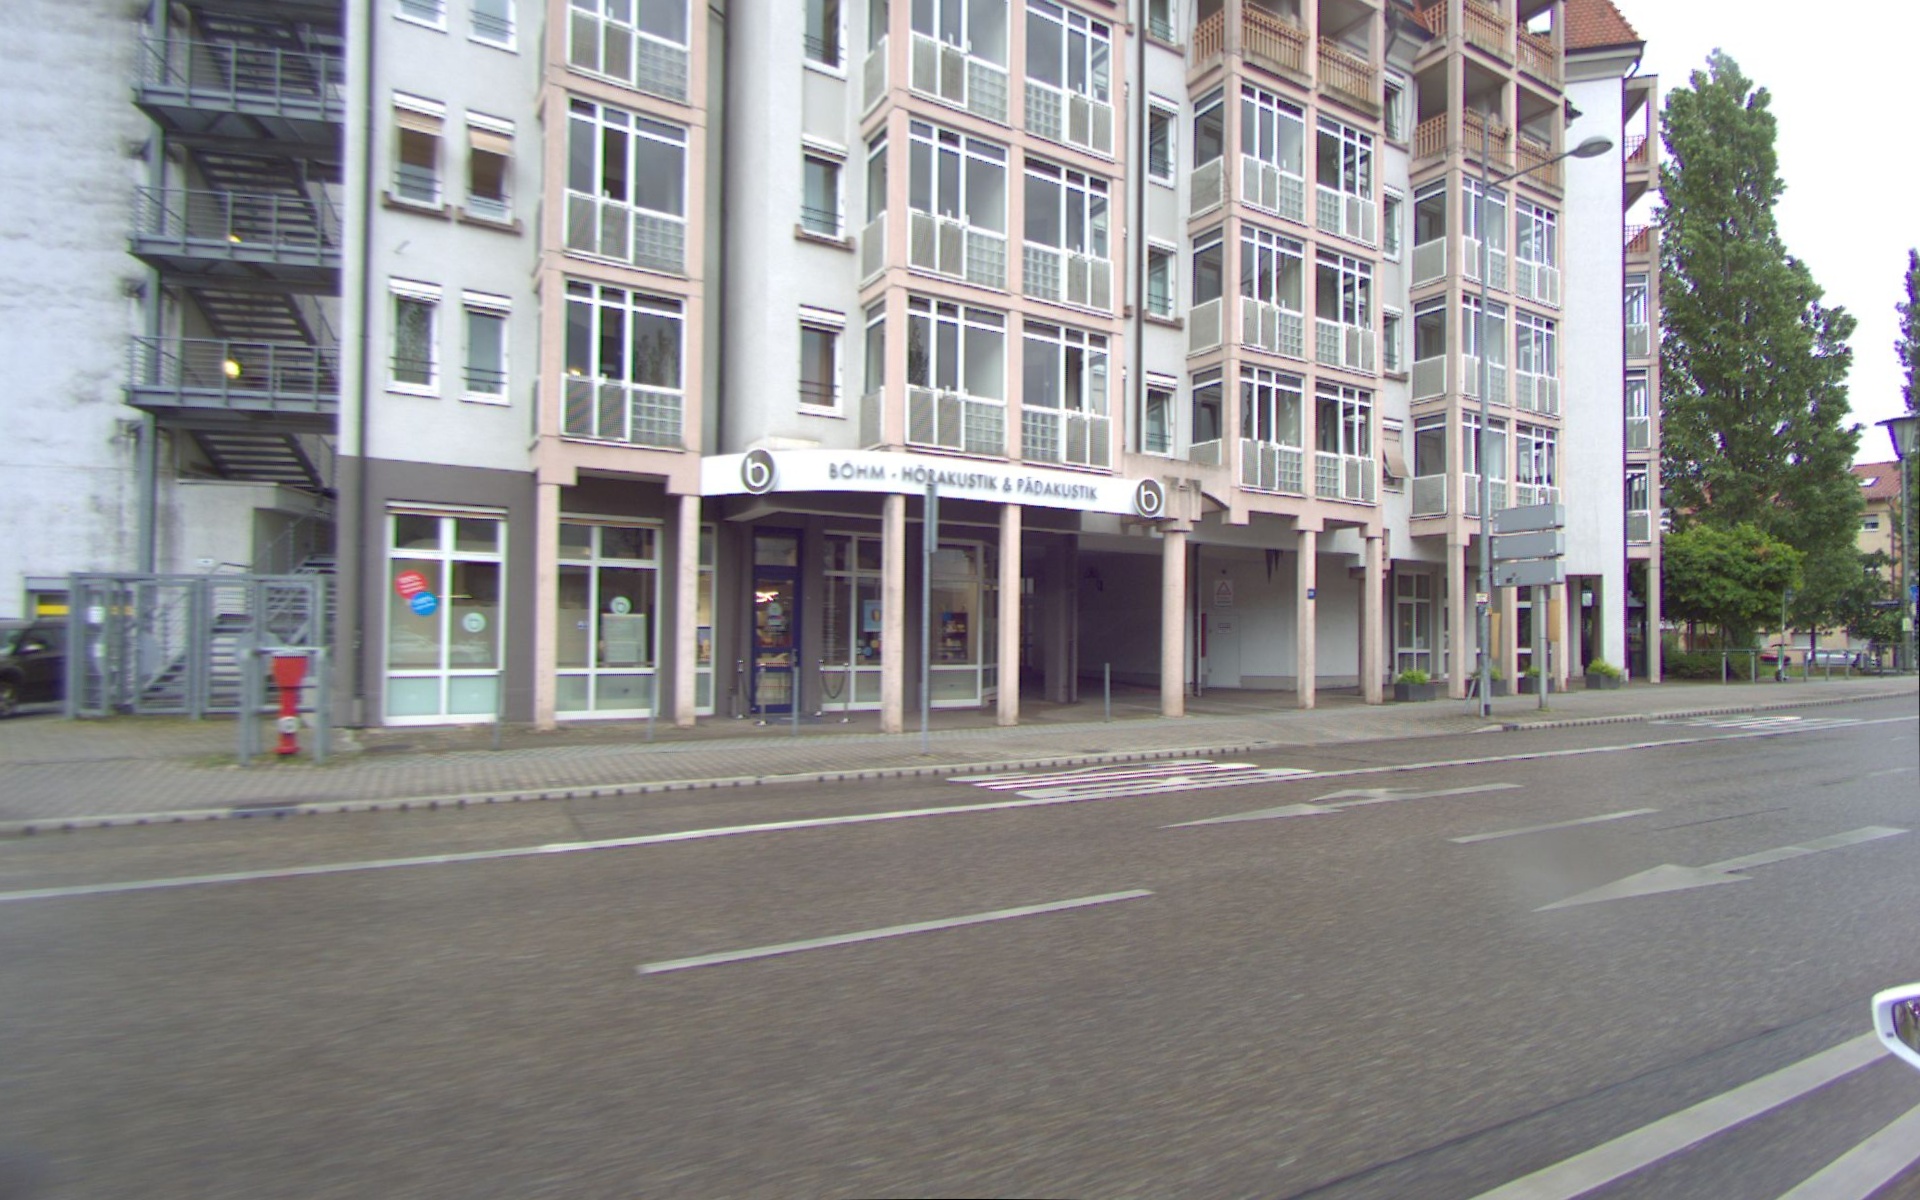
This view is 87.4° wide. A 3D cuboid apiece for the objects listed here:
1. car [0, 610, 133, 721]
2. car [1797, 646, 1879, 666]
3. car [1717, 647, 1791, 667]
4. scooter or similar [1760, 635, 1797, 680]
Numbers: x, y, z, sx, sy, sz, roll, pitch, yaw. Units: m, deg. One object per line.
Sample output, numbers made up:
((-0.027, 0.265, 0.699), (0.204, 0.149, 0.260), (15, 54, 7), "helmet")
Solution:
((-16.522, 1.095, 17.220), (1.920, 1.761, 3.992), (0, -2, -11), "car")
((62.138, 3.961, 71.164), (1.876, 1.405, 3.970), (1, -4, -29), "car")
((59.622, 4.281, 75.529), (1.876, 1.406, 3.970), (1, -2, -29), "car")
((25.951, 1.812, 31.841), (1.556, 1.331, 0.478), (-1, -1, -35), "scooter or similar")
